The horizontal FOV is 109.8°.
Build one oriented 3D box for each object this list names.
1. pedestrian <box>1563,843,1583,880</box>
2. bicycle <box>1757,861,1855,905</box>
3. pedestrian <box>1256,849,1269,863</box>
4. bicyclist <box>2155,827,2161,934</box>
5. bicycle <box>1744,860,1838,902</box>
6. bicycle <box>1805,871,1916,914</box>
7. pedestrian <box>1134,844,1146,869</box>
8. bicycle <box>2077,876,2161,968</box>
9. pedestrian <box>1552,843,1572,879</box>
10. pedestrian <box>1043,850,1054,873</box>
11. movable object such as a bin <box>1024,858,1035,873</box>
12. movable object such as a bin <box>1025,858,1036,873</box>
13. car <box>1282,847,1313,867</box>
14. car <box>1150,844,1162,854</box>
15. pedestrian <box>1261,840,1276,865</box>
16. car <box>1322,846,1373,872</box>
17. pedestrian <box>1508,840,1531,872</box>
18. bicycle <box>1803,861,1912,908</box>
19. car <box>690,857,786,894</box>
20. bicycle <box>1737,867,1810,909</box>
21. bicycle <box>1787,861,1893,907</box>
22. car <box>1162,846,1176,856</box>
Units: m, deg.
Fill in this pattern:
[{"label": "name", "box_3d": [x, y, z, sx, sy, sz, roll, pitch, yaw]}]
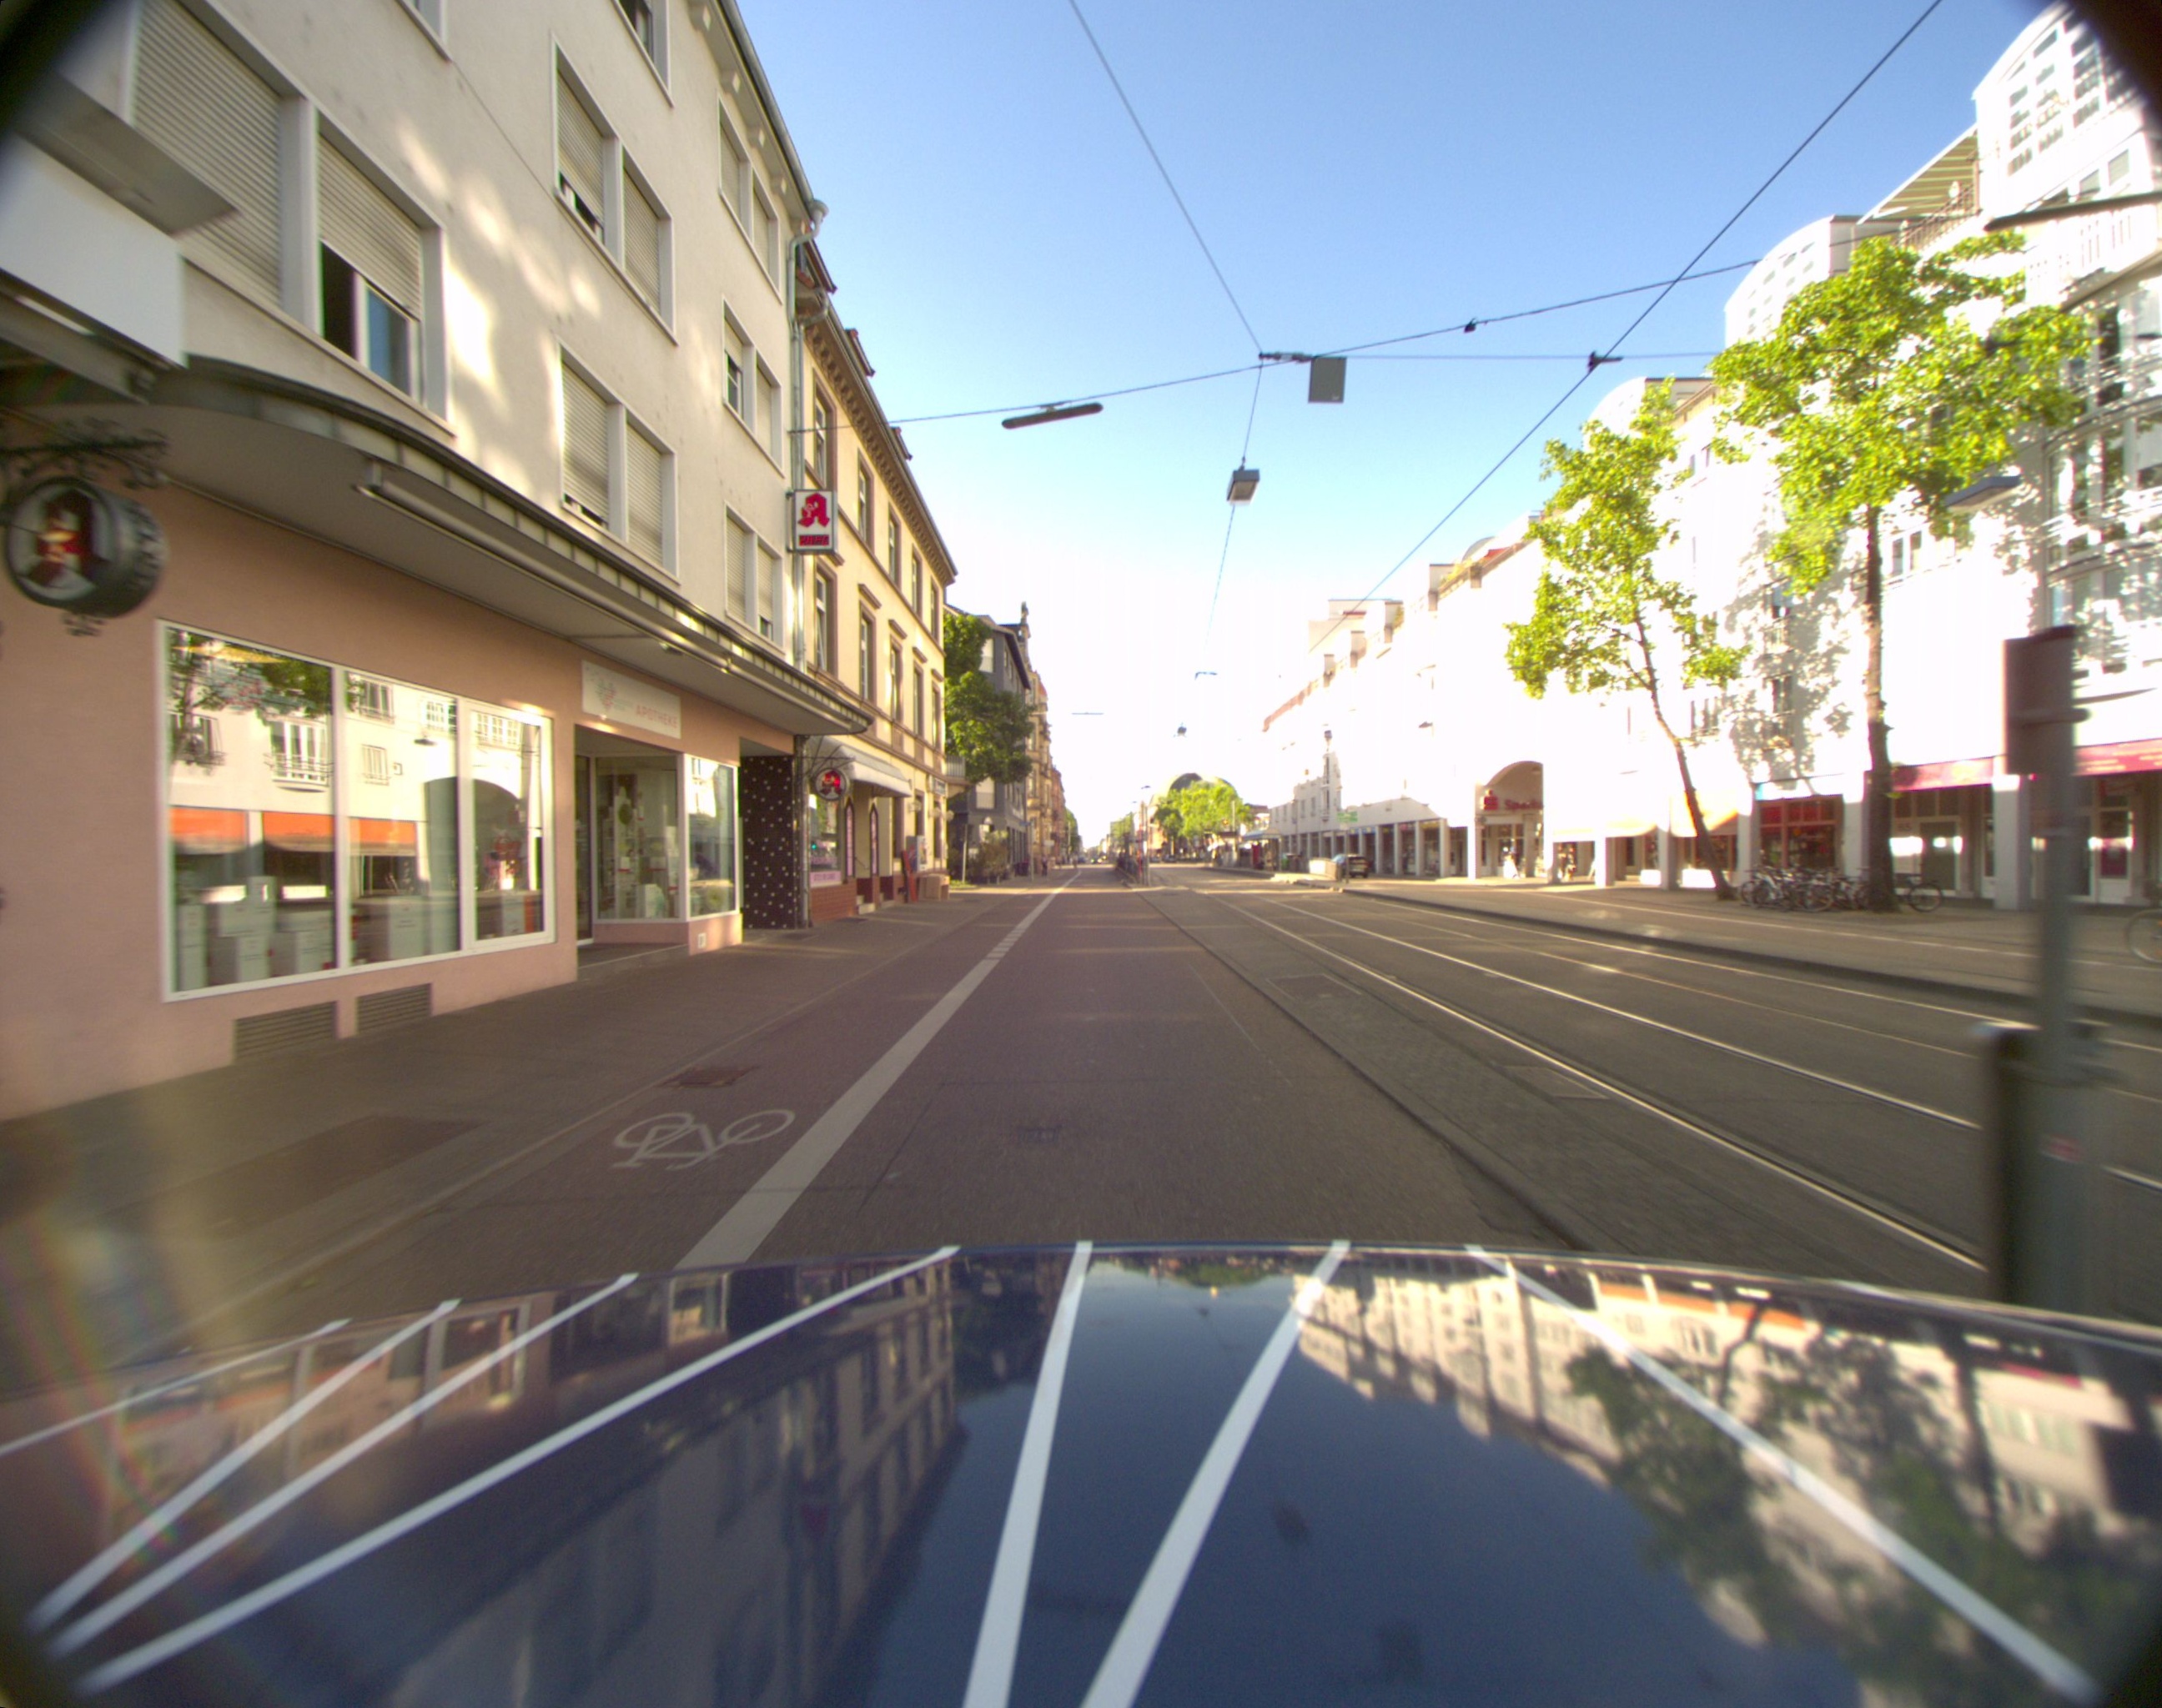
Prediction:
[{"label": "pedestrian", "box_3d": [22.207, 0.325, 34.312, 0.563, 1.635, 0.523, 0, 1, 1]}, {"label": "bicycle", "box_3d": [18.392, 0.726, 19.301, 1.876, 1.071, 0.465, -1, 1, 9]}, {"label": "pedestrian", "box_3d": [13.302, 0.126, 55.765, 0.794, 0.982, 0.747, -2, 0, 1]}, {"label": "bicyclist", "box_3d": [13.888, 0.339, 9.251, 0.563, 1.354, 0.719, -1, 2, 4]}, {"label": "bicycle", "box_3d": [18.718, 0.715, 20.048, 1.877, 1.071, 0.511, -1, 1, 6]}, {"label": "bicycle", "box_3d": [17.739, 0.869, 17.324, 1.751, 0.927, 0.571, -1, 1, 10]}, {"label": "pedestrian", "box_3d": [3.950, 0.180, 50.771, 0.716, 1.635, 0.400, -1, 2, 3]}, {"label": "bicycle", "box_3d": [13.873, 0.886, 9.370, 0.564, 1.117, 2.004, 3, 1, 4]}, {"label": "pedestrian", "box_3d": [21.665, 0.306, 34.251, 0.563, 1.635, 0.523, -1, 1, 1]}, {"label": "pedestrian", "box_3d": [-2.483, 0.595, 58.028, 0.695, 1.680, 0.688, 5, 1, 1]}, {"label": "movable object such as a bin", "box_3d": [-3.744, 0.858, 55.425, 0.717, 1.062, 0.637, -2, 1, 0]}, {"label": "movable object such as a bin", "box_3d": [-3.731, 0.876, 56.235, 0.717, 1.062, 0.637, -2, 1, 0]}, {"label": "car", "box_3d": [17.857, 0.227, 62.967, 1.783, 1.658, 4.773, 0, 1, 7]}, {"label": "car", "box_3d": [15.746, -1.086, 158.970, 1.999, 1.893, 3.999, -1, 1, -2]}, {"label": "pedestrian", "box_3d": [12.761, -0.109, 51.650, 0.794, 1.635, 0.747, -2, 1, 1]}, {"label": "car", "box_3d": [17.227, 0.284, 49.288, 1.784, 1.531, 4.267, 1, 1, 0]}, {"label": "pedestrian", "box_3d": [22.959, 0.103, 39.797, 0.747, 1.635, 0.731, -1, 1, 1]}, {"label": "bicycle", "box_3d": [18.144, 0.718, 17.790, 1.876, 1.071, 0.465, -1, 1, 9]}, {"label": "car", "box_3d": [-15.307, 0.926, 34.044, 1.642, 1.522, 3.664, -1, 1, 27]}, {"label": "bicycle", "box_3d": [17.074, 0.824, 18.781, 0.470, 0.926, 1.755, -1, 1, 10]}, {"label": "bicycle", "box_3d": [18.237, 0.712, 18.286, 1.876, 1.071, 0.465, -1, 1, 9]}, {"label": "car", "box_3d": [15.821, -0.508, 136.733, 1.998, 1.608, 4.000, -2, 0, 1]}]
